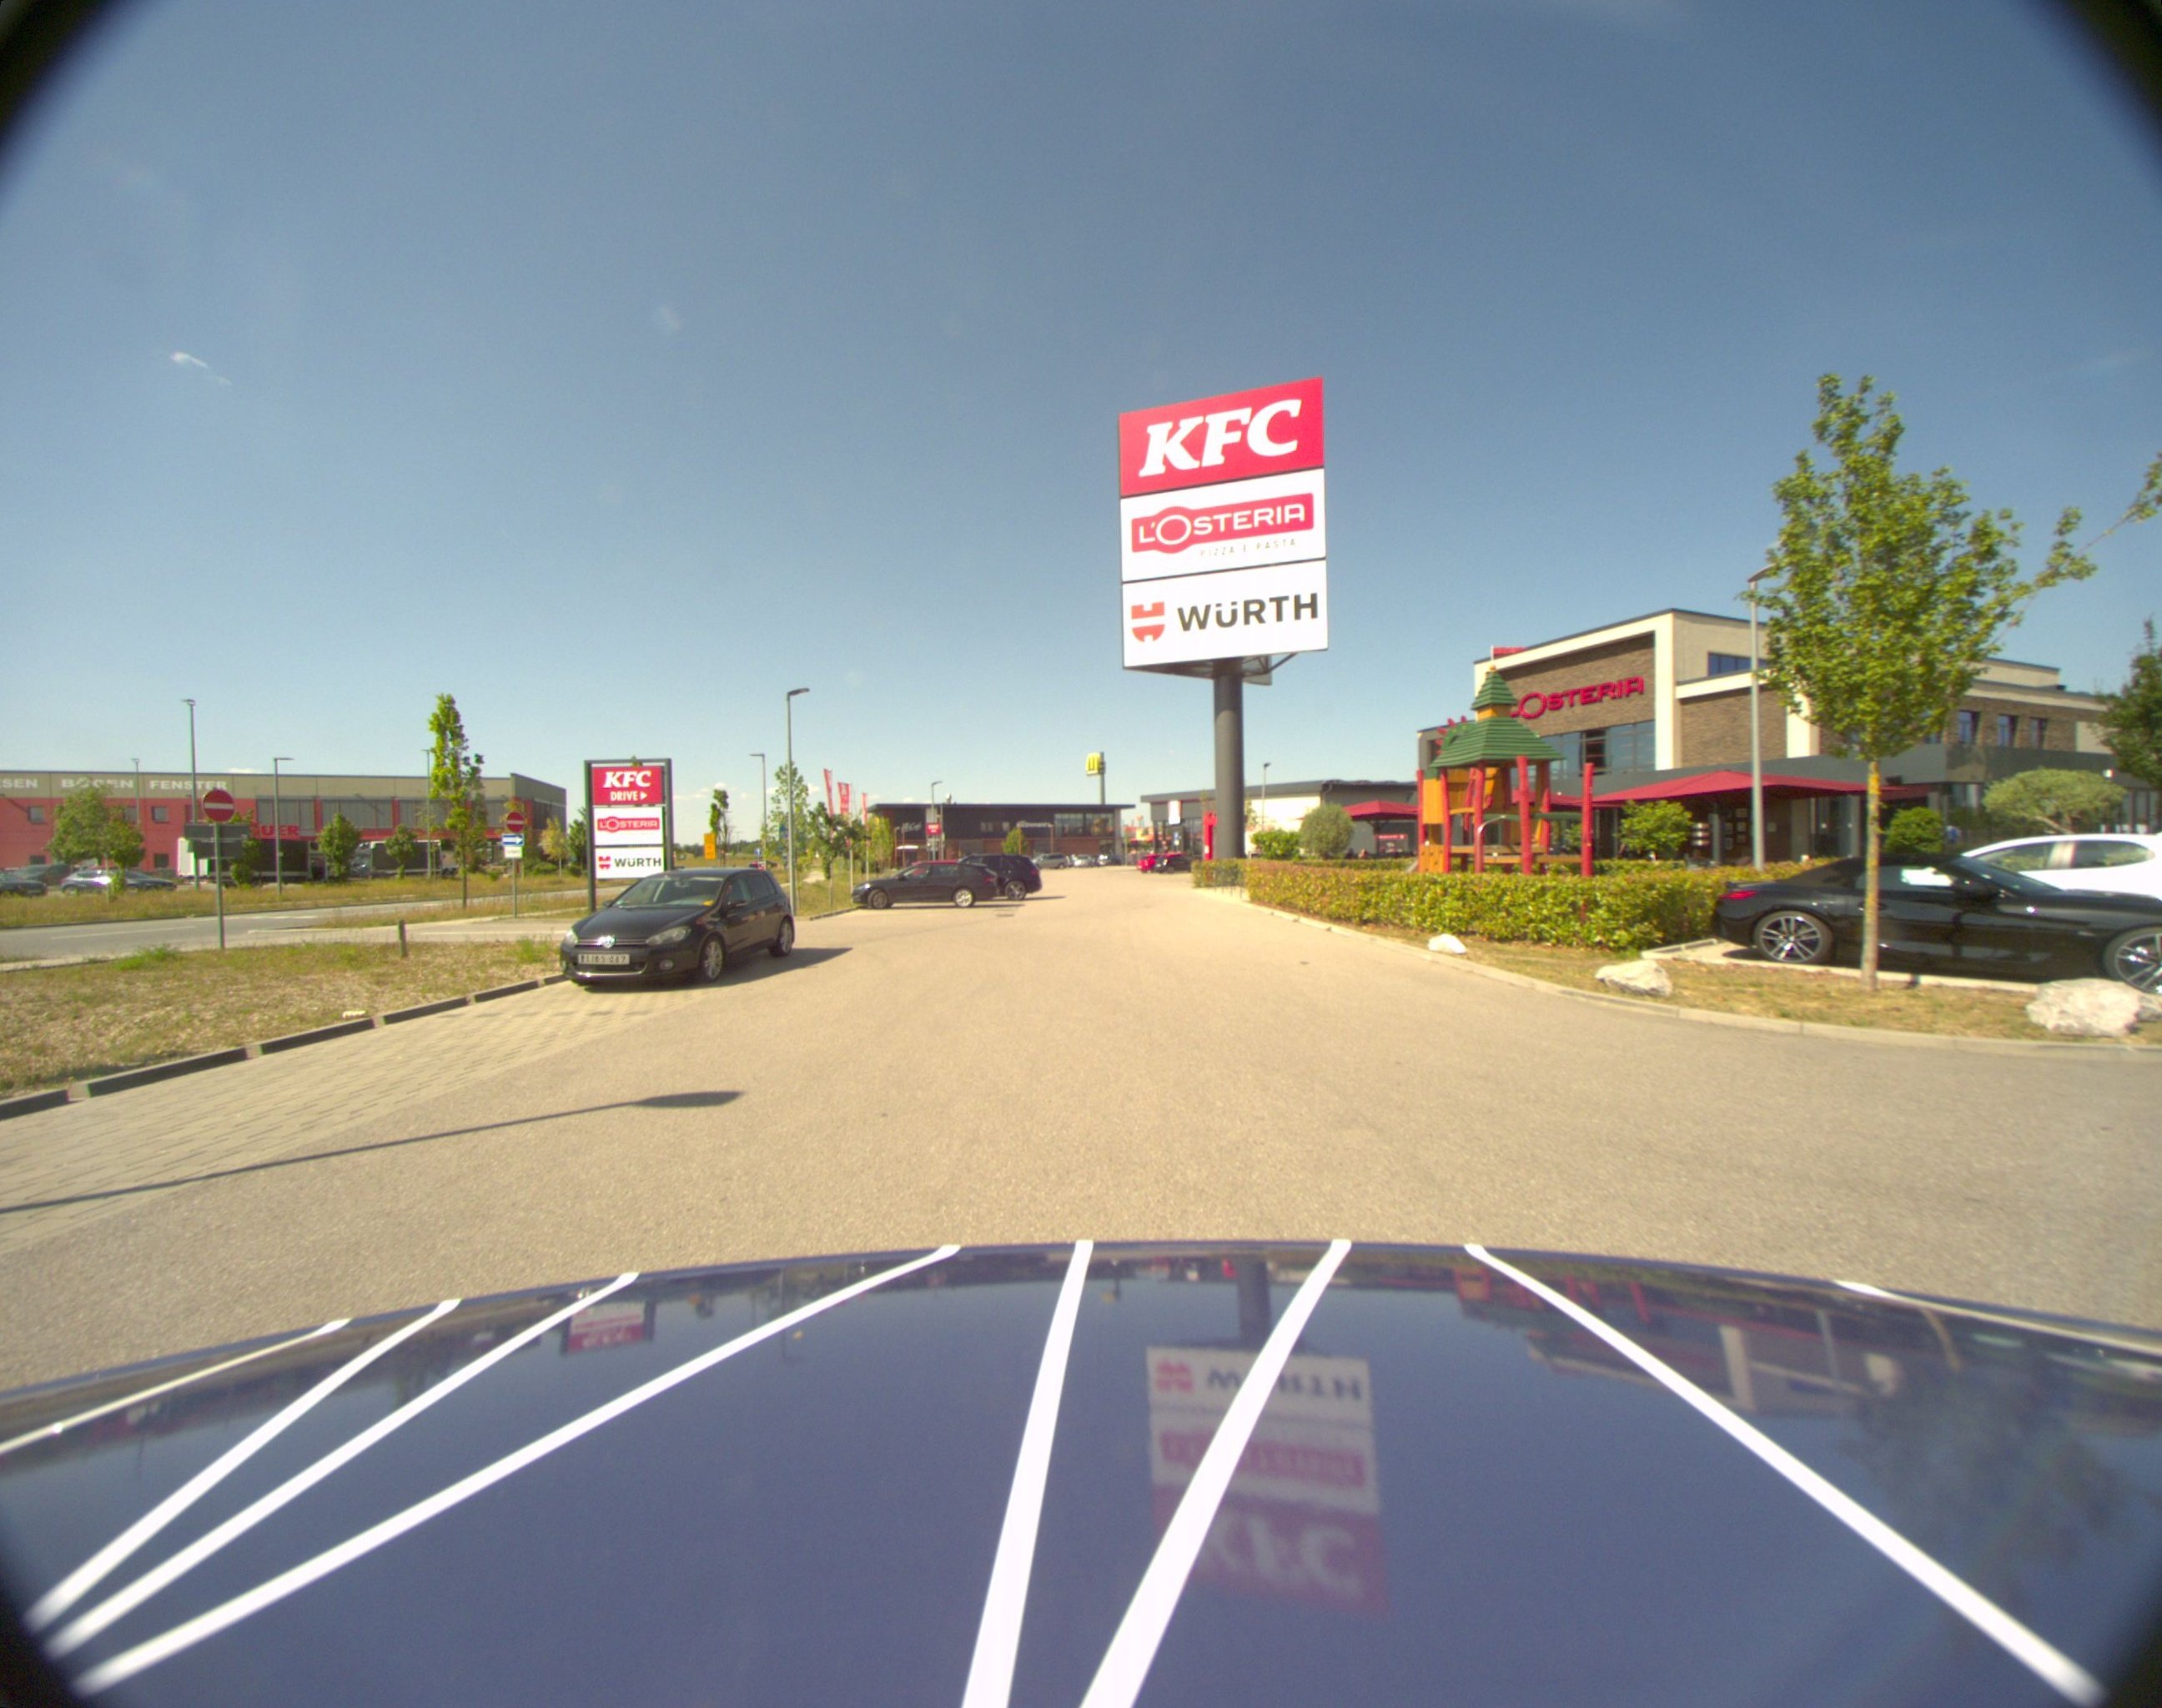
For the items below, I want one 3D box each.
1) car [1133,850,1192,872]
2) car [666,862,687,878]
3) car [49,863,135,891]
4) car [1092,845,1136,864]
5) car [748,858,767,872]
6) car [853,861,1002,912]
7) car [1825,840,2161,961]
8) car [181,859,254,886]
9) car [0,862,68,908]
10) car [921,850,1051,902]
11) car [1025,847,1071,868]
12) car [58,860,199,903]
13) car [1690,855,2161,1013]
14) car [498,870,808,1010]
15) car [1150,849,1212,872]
[{"bbox_3d":[6.245,0.514,58.606,4.101,1.556,1.875,-1,0,-21],"label":"car"},{"bbox_3d":[-41.659,1.652,78.339,1.831,1.532,3.991,-2,0,-27],"label":"car"},{"bbox_3d":[-78.744,1.761,60.602,2.002,2.026,4.476,-2,1,-21],"label":"car"},{"bbox_3d":[3.694,0.057,86.166,4.489,2.002,1.996,-2,1,-22],"label":"car"},{"bbox_3d":[-38.369,1.309,90.175,1.831,1.532,3.991,-2,1,-26],"label":"car"},{"bbox_3d":[-4.860,1.017,24.649,4.533,1.450,1.999,-1,0,-6],"label":"car"},{"bbox_3d":[13.540,0.567,10.776,1.806,1.466,3.905,-1,0,-28],"label":"car"},{"bbox_3d":[-71.386,1.495,62.911,2.002,2.026,4.476,-2,1,-21],"label":"car"},{"bbox_3d":[-51.159,1.503,35.435,4.484,2.026,1.998,-2,1,-9],"label":"car"},{"bbox_3d":[-3.540,0.822,28.853,4.529,1.825,2.001,-1,1,5],"label":"car"},{"bbox_3d":[-3.513,0.350,80.673,4.489,2.002,1.996,-2,1,-22],"label":"car"},{"bbox_3d":[-51.332,1.452,41.036,4.484,2.026,1.998,-2,1,-9],"label":"car"},{"bbox_3d":[9.435,0.704,8.158,1.834,1.330,4.144,-1,0,-33],"label":"car"},{"bbox_3d":[-5.691,1.037,10.896,1.877,1.457,4.364,-1,0,1],"label":"car"},{"bbox_3d":[7.379,0.459,56.126,4.101,1.556,1.875,-1,0,-21],"label":"car"}]
